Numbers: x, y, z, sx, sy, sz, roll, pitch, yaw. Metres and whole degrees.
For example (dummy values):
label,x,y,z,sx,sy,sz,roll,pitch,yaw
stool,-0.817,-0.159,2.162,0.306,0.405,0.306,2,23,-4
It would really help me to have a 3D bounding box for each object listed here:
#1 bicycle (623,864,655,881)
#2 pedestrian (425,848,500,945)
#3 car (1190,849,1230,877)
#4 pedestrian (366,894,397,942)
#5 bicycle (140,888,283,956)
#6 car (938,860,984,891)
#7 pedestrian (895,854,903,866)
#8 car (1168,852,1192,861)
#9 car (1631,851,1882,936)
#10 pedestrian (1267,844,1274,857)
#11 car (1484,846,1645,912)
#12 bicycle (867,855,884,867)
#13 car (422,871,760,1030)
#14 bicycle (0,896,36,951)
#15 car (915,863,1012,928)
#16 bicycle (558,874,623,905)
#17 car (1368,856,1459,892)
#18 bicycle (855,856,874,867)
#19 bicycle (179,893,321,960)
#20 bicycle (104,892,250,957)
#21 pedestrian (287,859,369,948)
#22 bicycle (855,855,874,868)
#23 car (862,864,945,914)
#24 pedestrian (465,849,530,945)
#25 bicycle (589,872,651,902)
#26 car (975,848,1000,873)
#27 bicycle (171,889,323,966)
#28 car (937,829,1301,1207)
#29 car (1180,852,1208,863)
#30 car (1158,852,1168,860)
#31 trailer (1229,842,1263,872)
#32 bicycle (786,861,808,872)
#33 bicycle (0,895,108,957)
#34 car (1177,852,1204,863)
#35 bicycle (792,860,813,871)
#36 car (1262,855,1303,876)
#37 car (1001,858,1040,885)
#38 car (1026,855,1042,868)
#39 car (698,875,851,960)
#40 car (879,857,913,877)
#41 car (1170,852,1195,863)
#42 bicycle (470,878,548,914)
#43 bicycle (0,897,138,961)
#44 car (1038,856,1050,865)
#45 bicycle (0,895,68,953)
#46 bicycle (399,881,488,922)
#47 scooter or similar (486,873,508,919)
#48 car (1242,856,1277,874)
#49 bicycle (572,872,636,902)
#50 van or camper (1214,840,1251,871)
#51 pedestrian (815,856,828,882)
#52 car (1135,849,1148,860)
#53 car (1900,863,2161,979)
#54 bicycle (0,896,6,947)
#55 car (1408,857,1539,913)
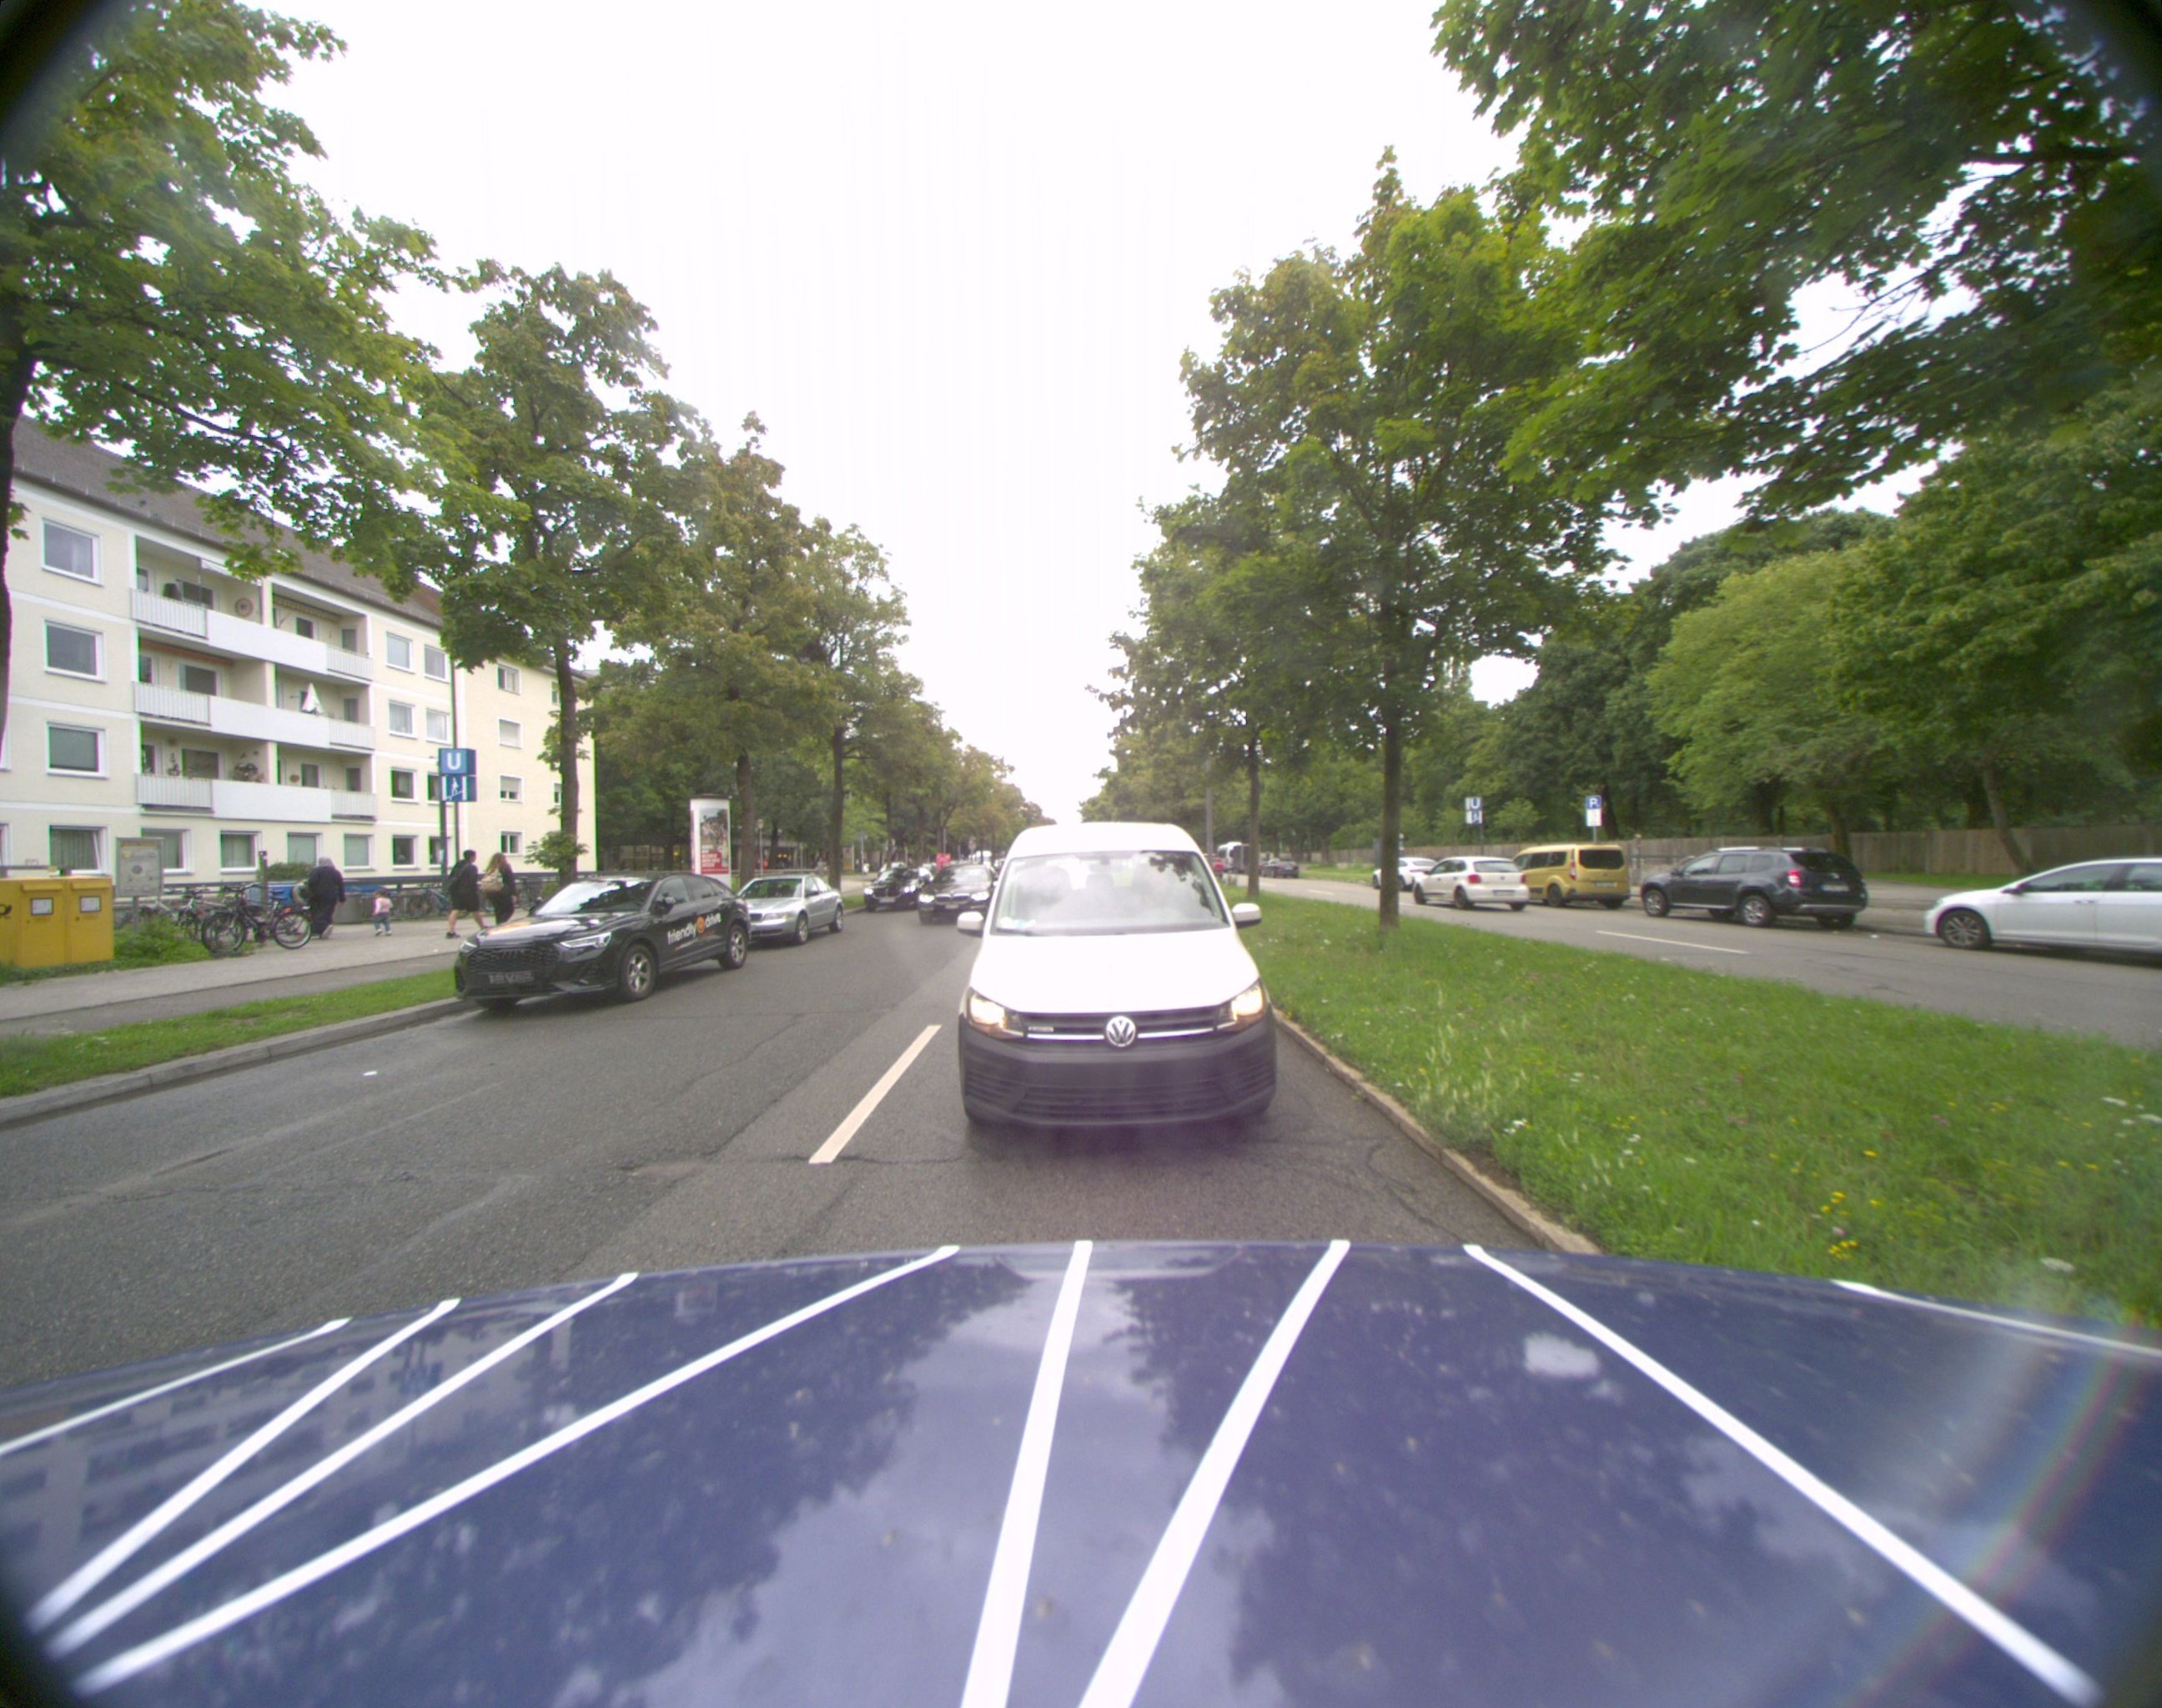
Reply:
label,x,y,z,sx,sy,sz,roll,pitch,yaw
bicycle,-27.201,1.134,46.765,1.696,0.965,0.455,-1,0,-4
pedestrian,-12.435,0.831,15.309,0.731,1.879,0.919,0,1,-1
car,8.347,0.550,49.566,1.908,1.686,4.245,1,0,1
pedestrian,-14.313,1.298,15.546,0.434,0.944,0.410,0,1,42
bicycle,-15.916,1.212,13.987,0.432,1.095,1.883,0,0,1
car,-6.312,1.100,40.388,1.686,1.457,4.115,-3,0,1
pedestrian,-27.844,0.906,116.070,0.872,1.689,0.771,0,2,14
car,17.693,0.433,135.959,4.006,1.358,1.588,-2,1,-30
car,14.595,0.760,16.816,1.741,1.636,4.255,0,0,-1
pedestrian,26.575,-0.450,106.590,0.770,1.757,0.873,0,1,-4
car,14.348,0.686,22.950,1.819,1.772,4.817,0,0,1
bicycle,-29.320,1.002,108.248,2.316,1.613,0.648,-1,1,-17
car,-6.149,1.081,10.269,1.721,1.524,4.275,-3,0,0
bicycle,-21.107,1.355,14.228,0.432,1.022,1.883,0,0,1
car,-3.042,1.026,20.674,1.799,1.434,4.667,-3,0,1
bicycle,-16.663,1.195,25.823,1.882,1.022,0.432,0,1,-3
car,14.639,0.839,33.818,1.861,1.464,4.874,0,0,-1
bicycle,-28.906,0.988,101.462,2.313,1.523,0.649,-1,1,0
bicycle,-14.741,1.252,13.551,0.432,1.022,1.883,0,0,1
bicycle,-16.671,1.270,14.085,0.432,1.022,1.883,0,0,1
pedestrian,-14.877,0.951,15.021,0.833,1.671,0.842,0,1,20
bicycle,-29.217,0.991,102.569,2.313,1.613,0.649,-1,1,0
car,-6.073,1.146,26.461,1.755,1.457,4.176,-3,0,1
pedestrian,-11.746,0.832,15.317,0.589,1.879,0.902,-1,1,-1
bicycle,-16.515,1.184,27.246,1.883,1.022,0.432,0,1,-8
car,-10.691,0.718,87.010,1.978,2.641,6.005,-3,0,0
bicycle,-13.839,1.181,12.696,0.432,1.127,1.884,0,0,1
car,0.153,0.794,6.015,1.750,1.807,4.667,-1,0,-1
car,18.011,0.608,120.763,4.006,1.548,1.887,-3,0,-32
car,16.580,0.435,153.748,1.889,1.435,4.169,-2,1,4
trailer,14.474,0.233,66.984,2.022,2.575,4.658,0,0,0
bicycle,-29.053,1.287,77.793,2.080,1.114,0.455,-1,1,0
bicycle,-19.458,1.324,14.068,0.432,1.022,1.883,0,0,1
car,17.836,0.566,123.691,4.006,1.548,1.887,-3,0,-32
bicycle,-29.339,1.226,80.043,2.080,1.114,0.455,-1,1,0
car,14.403,0.825,54.545,1.805,1.417,4.431,0,0,0
car,-3.620,1.018,46.188,1.889,1.434,4.667,-3,0,1
car,-6.214,0.998,101.108,1.686,1.632,4.464,-4,0,0
car,-6.312,1.232,16.180,1.640,1.378,4.243,-3,0,-3
car,-16.334,1.116,67.169,1.826,1.624,4.198,0,0,2
car,17.728,0.619,132.704,4.006,1.548,1.887,-3,0,-32
bicycle,-16.681,1.219,22.170,1.882,1.022,0.432,0,1,-3
bicycle,-18.963,1.357,14.152,0.432,1.022,1.883,0,0,1
car,-6.004,1.051,123.874,1.735,1.498,4.441,-3,0,-1
bicycle,-20.179,1.323,14.009,0.432,1.022,1.883,0,0,1
bicycle,-16.559,1.227,19.758,1.882,1.022,0.432,0,1,-3
scooter or similar,-15.900,1.124,20.679,0.359,1.193,1.386,-1,1,-42
car,14.317,0.850,61.185,1.805,1.376,4.238,0,0,0
bicycle,-16.748,1.161,26.687,1.883,1.022,0.432,0,1,-6
van or camper,14.512,0.112,73.112,2.040,2.821,7.546,0,0,0
pedestrian,-17.529,0.975,51.359,0.641,1.739,0.849,1,0,-2
car,10.672,0.066,135.061,1.804,1.922,4.993,0,0,-1
car,14.571,0.874,10.408,1.767,1.441,4.532,0,0,-1
bicycle,-22.258,1.378,14.619,0.432,1.022,1.883,0,0,1
car,10.767,0.802,21.151,1.622,1.367,3.837,1,0,0
